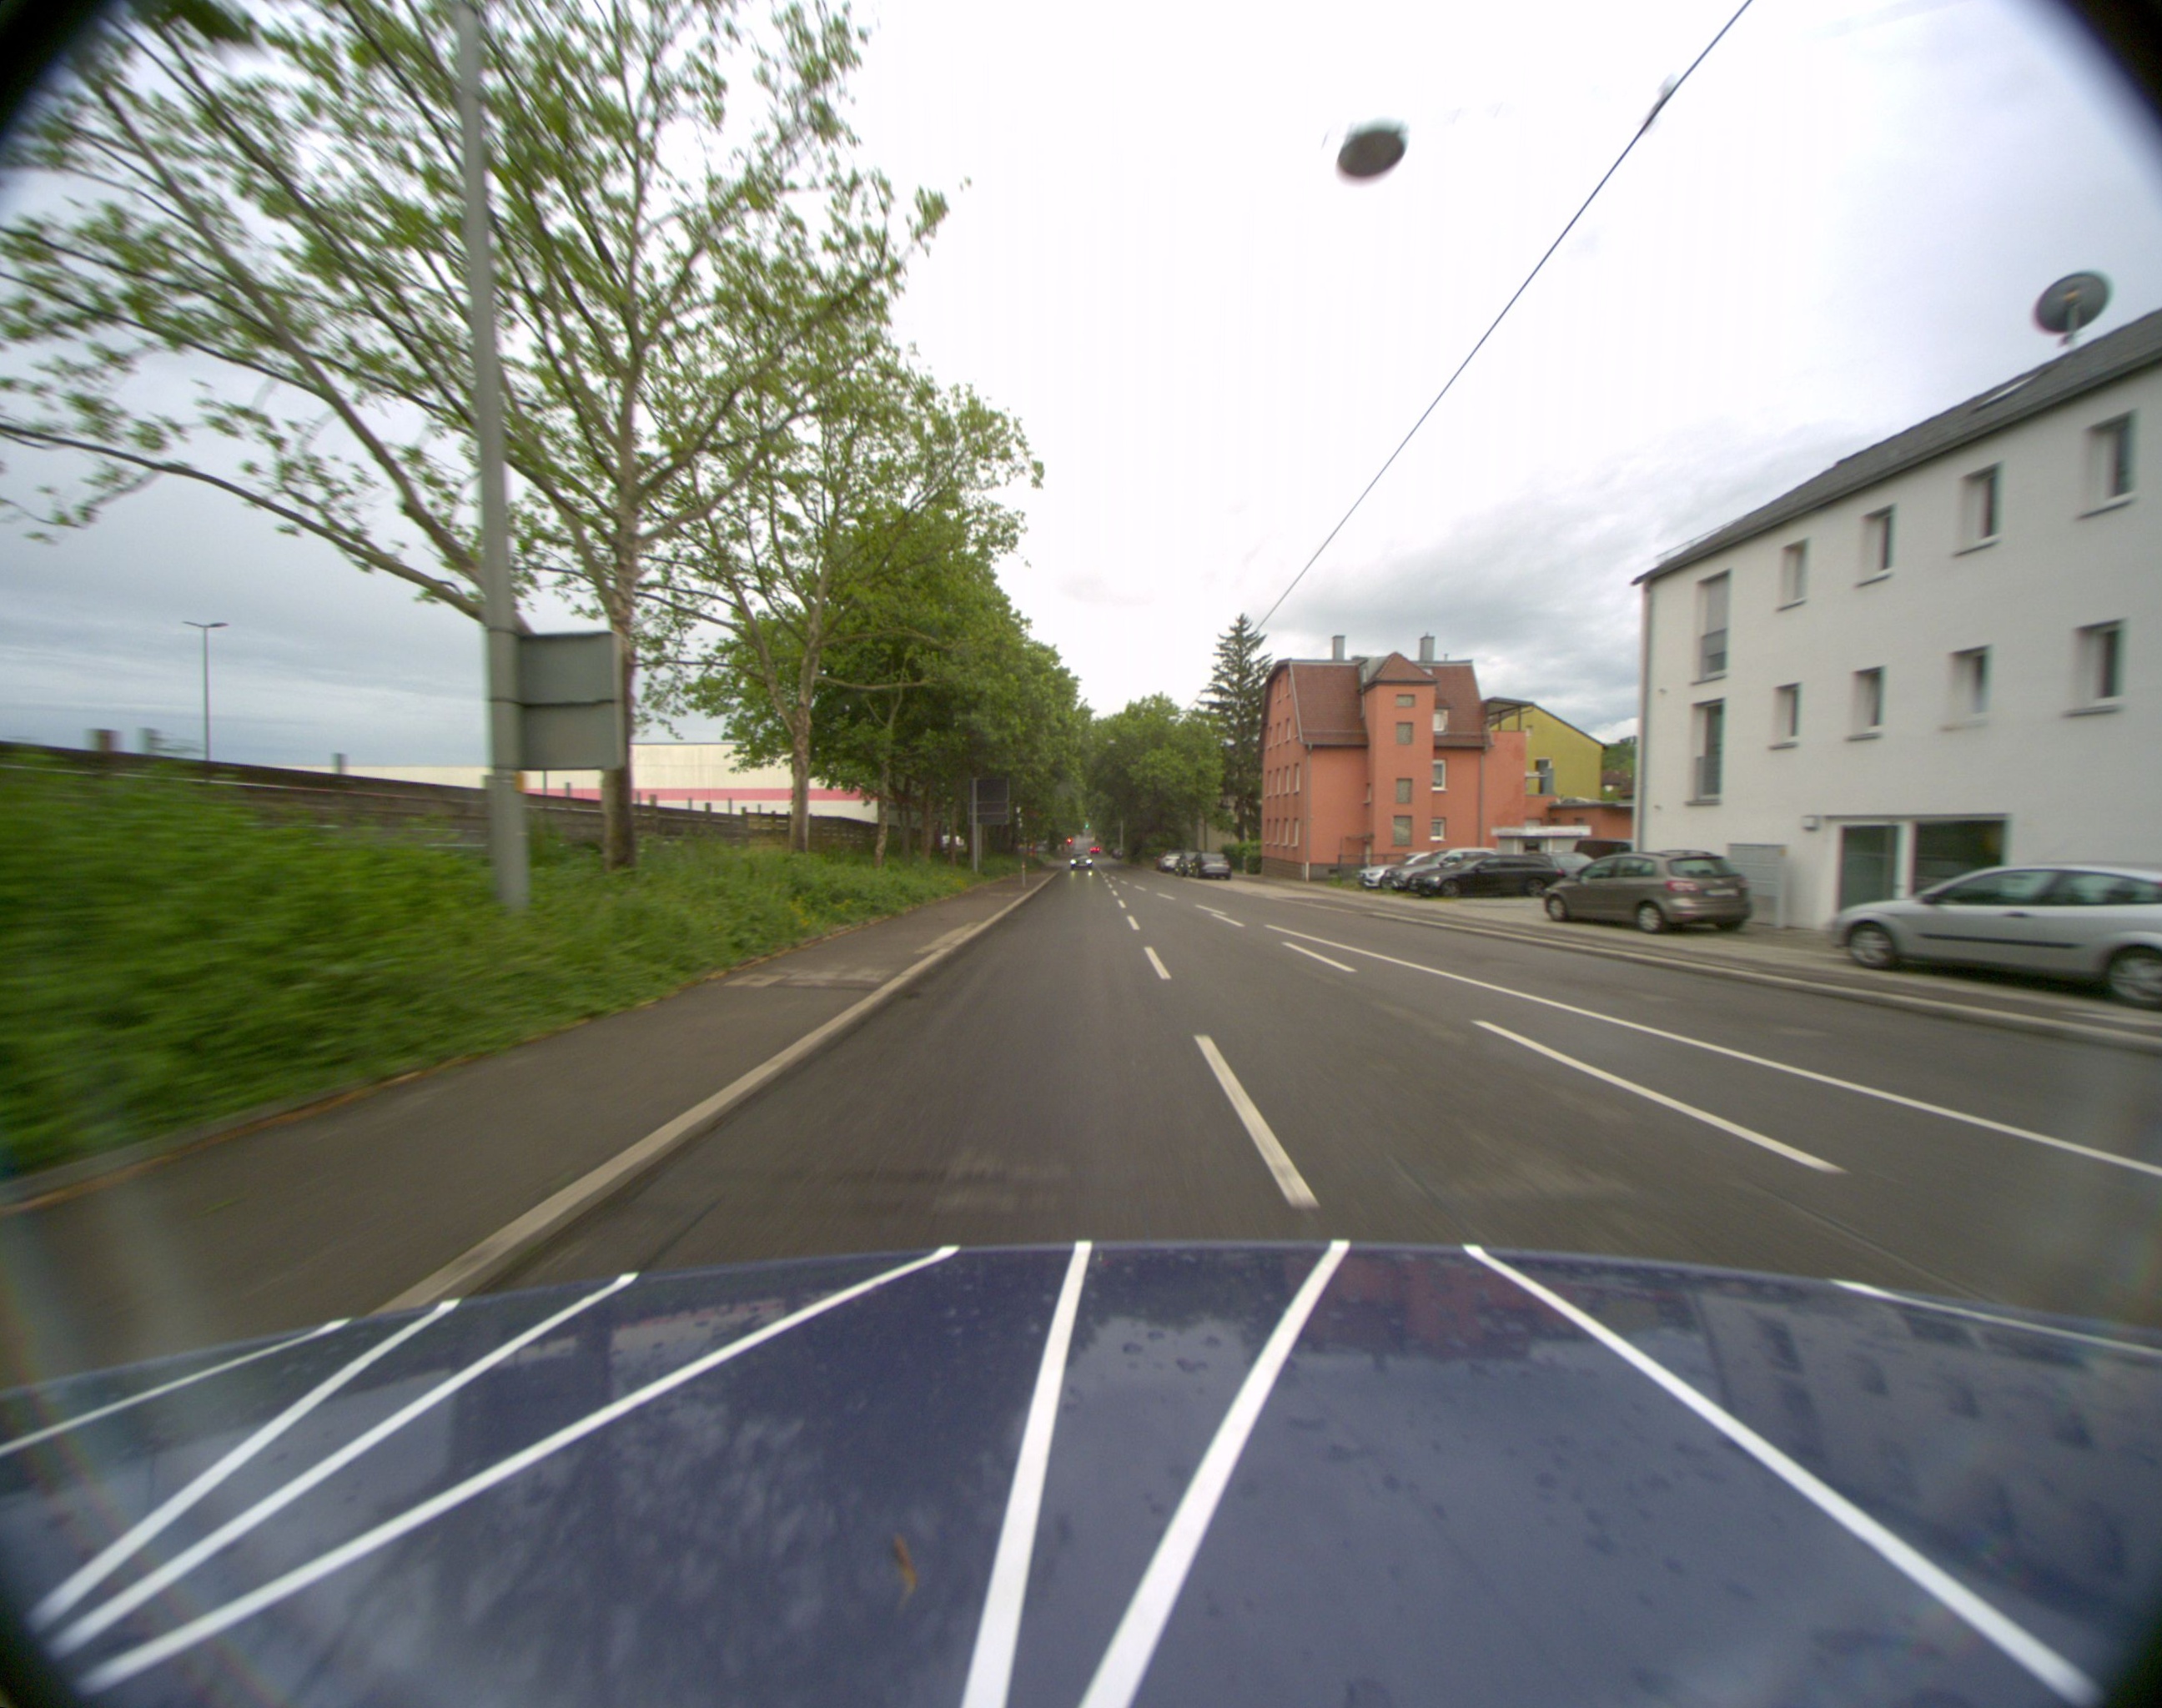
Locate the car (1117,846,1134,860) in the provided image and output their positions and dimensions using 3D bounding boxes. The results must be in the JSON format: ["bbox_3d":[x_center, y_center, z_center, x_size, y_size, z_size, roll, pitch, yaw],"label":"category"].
[{"bbox_3d":[5.519,-0.154,94.355,1.842,1.631,4.194,0,1,0],"label":"car"}]

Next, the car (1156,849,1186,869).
[{"bbox_3d":[6.778,0.347,57.595,1.816,1.425,4.198,0,1,0],"label":"car"}]

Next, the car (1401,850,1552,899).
[{"bbox_3d":[13.446,0.669,26.002,4.136,1.455,1.895,-2,1,2],"label":"car"}]

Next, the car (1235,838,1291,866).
[{"bbox_3d":[13.853,-0.133,58.072,3.994,2.002,2.001,-1,1,8],"label":"car"}]

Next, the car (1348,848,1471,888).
[{"bbox_3d":[13.410,0.561,31.233,4.172,1.425,2.000,-2,1,2],"label":"car"}]

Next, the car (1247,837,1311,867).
[{"bbox_3d":[14.098,-0.185,54.253,3.997,2.002,1.999,-1,1,-1],"label":"car"}]

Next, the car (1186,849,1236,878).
[{"bbox_3d":[6.912,0.489,40.813,1.789,1.402,4.197,2,1,-3],"label":"car"}]

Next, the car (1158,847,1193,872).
[{"bbox_3d":[6.424,0.340,51.921,1.816,1.537,4.198,3,1,0],"label":"car"}]

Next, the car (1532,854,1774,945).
[{"bbox_3d":[11.609,0.822,15.826,1.750,1.543,4.082,-2,1,-4],"label":"car"}]

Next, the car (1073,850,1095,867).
[{"bbox_3d":[0.236,0.385,66.379,1.842,1.403,3.999,0,1,0],"label":"car"}]

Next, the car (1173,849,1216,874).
[{"bbox_3d":[6.769,0.414,45.628,1.816,1.443,4.197,0,1,-2],"label":"car"}]

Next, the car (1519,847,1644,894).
[{"bbox_3d":[17.584,0.520,26.951,1.785,1.553,3.999,0,1,0],"label":"car"}]

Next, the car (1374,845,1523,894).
[{"bbox_3d":[13.776,0.559,28.729,4.542,1.599,2.153,-2,1,2],"label":"car"}]

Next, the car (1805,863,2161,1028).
[{"bbox_3d":[11.277,0.903,8.825,1.749,1.499,4.177,0,1,0],"label":"car"}]
